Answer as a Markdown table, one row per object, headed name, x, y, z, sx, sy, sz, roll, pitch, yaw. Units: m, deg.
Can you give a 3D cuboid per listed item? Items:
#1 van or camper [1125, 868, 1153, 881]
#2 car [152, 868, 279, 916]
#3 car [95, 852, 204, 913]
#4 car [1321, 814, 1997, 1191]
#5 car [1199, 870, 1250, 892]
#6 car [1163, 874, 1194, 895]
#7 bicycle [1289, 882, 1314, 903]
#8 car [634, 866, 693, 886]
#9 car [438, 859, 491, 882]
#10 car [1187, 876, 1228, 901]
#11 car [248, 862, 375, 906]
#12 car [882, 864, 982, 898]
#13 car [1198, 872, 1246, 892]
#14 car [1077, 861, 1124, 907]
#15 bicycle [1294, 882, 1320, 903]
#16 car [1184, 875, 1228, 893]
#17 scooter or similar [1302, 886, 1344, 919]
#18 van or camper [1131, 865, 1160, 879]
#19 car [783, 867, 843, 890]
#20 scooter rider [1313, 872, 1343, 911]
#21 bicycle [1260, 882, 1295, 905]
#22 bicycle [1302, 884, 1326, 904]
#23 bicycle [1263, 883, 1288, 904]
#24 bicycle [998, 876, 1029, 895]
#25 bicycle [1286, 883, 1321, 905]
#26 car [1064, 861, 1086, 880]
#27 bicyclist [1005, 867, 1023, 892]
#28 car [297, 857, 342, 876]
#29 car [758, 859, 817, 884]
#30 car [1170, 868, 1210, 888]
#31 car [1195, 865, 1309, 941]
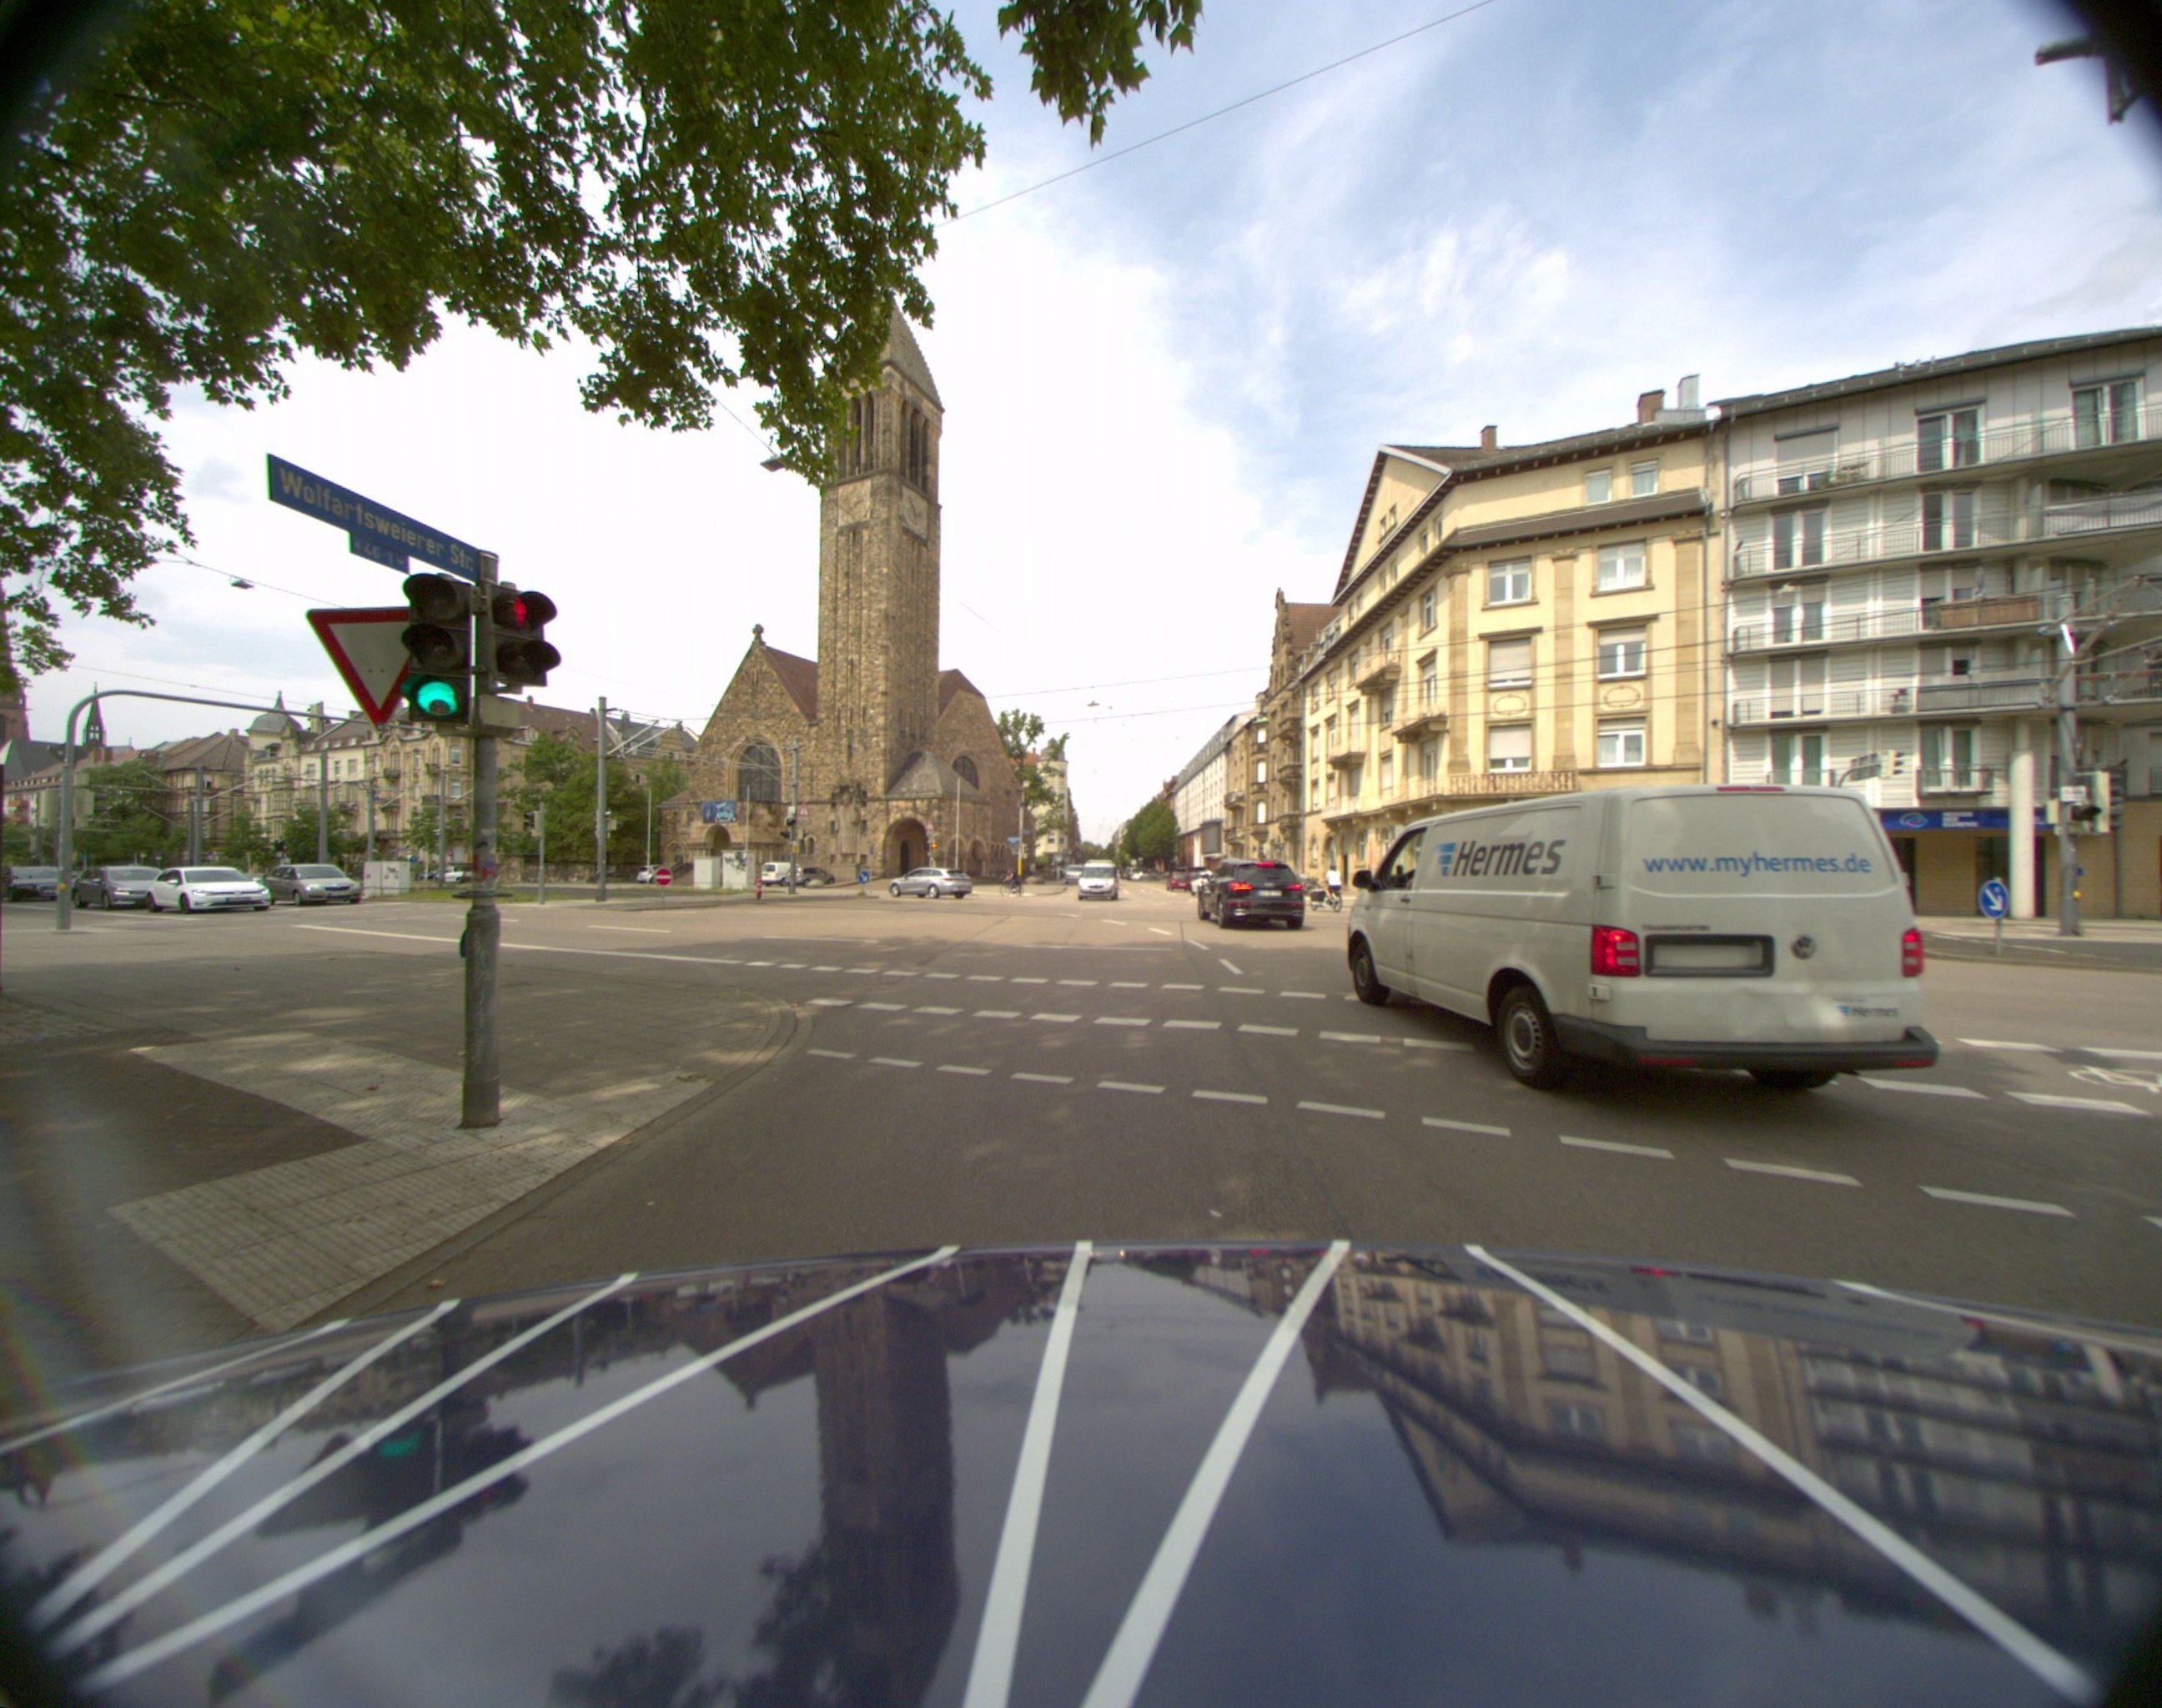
| name | x | y | z | sx | sy | sz | roll | pitch | yaw |
| --- | --- | --- | --- | --- | --- | --- | --- | --- | --- |
| van or camper | 9.014 | 3.188 | 118.132 | 4.000 | 2.001 | 1.999 | 0 | -1 | -8 |
| car | -28.018 | 1.186 | 24.579 | 4.276 | 1.375 | 1.843 | -1 | 0 | 29 |
| car | -32.960 | 0.953 | 26.873 | 3.988 | 2.001 | 2.004 | 0 | -1 | 33 |
| car | 3.766 | 0.834 | 6.407 | 1.928 | 1.924 | 4.949 | -1 | -1 | 0 |
| car | 11.752 | 2.219 | 62.098 | 3.834 | 1.525 | 1.756 | -1 | -3 | -34 |
| car | 7.567 | 2.330 | 59.085 | 1.768 | 1.514 | 4.000 | 2 | -1 | -1 |
| bicycle | 12.954 | 2.249 | 44.652 | 1.345 | 1.185 | 0.397 | -3 | -1 | -5 |
| car | -35.667 | 1.894 | 65.009 | 1.995 | 1.631 | 3.962 | 0 | -2 | 25 |
| car | -53.747 | 1.453 | 66.245 | 3.990 | 2.001 | 2.004 | 0 | -2 | 26 |
| car | 7.742 | 2.094 | 46.799 | 1.739 | 1.422 | 4.242 | 0 | -2 | -2 |
| car | -27.994 | 1.065 | 27.641 | 4.277 | 1.502 | 1.843 | -1 | -2 | 25 |
| car | -7.037 | 1.239 | 35.723 | 4.833 | 1.514 | 1.773 | -1 | -2 | 36 |
| car | 12.209 | 2.428 | 65.810 | 3.834 | 1.525 | 1.756 | -1 | -3 | -34 |
| car | 0.941 | 1.406 | 36.283 | 2.082 | 2.038 | 4.682 | 0 | -1 | 2 |
| bicycle | 13.091 | 2.229 | 44.049 | 1.345 | 1.185 | 0.397 | -2 | -1 | -5 |
| car | 11.823 | 2.848 | 71.907 | 3.834 | 1.525 | 1.756 | -1 | -3 | -34 |
| scooter or similar | 8.849 | 1.750 | 27.891 | 0.741 | 1.131 | 2.689 | 0 | -2 | 1 |
| van or camper | 9.251 | 2.629 | 109.381 | 3.998 | 2.001 | 2.000 | 0 | 0 | -2 |
| car | -20.070 | 1.807 | 57.138 | 1.995 | 1.641 | 4.008 | 0 | -2 | 25 |
| scooter rider | 8.835 | 1.320 | 27.184 | 0.741 | 1.368 | 1.087 | 0 | -2 | 1 |
| bicycle | 11.353 | 2.292 | 43.953 | 1.821 | 1.185 | 0.397 | -4 | -1 | -3 |
| bicycle | 13.832 | 2.359 | 45.127 | 1.345 | 1.185 | 0.397 | 0 | -1 | -1 |
| bicycle | 11.405 | 2.297 | 44.585 | 1.345 | 1.185 | 0.397 | -2 | -1 | -3 |
| bicycle | -4.080 | 1.910 | 46.226 | 1.816 | 1.078 | 0.597 | 0 | -2 | -39 |
| bicycle | 12.713 | 2.284 | 43.415 | 1.830 | 1.185 | 0.398 | -2 | -2 | 0 |
| car | -0.556 | 1.741 | 77.921 | 2.082 | 1.852 | 4.682 | 0 | -1 | 2 |
| bicyclist | -4.065 | 1.566 | 46.248 | 0.841 | 1.488 | 0.587 | -1 | -1 | -39 |
| car | -79.661 | 1.299 | 79.487 | 3.990 | 2.001 | 2.004 | 0 | -1 | 23 |
| car | -22.595 | 1.385 | 58.668 | 1.995 | 1.870 | 3.962 | 0 | -2 | 25 |
| car | 11.151 | 2.443 | 77.662 | 3.834 | 1.881 | 1.756 | -1 | -3 | -34 |
| car | 4.053 | 1.135 | 18.773 | 1.827 | 1.637 | 4.429 | -1 | -2 | 0 |
